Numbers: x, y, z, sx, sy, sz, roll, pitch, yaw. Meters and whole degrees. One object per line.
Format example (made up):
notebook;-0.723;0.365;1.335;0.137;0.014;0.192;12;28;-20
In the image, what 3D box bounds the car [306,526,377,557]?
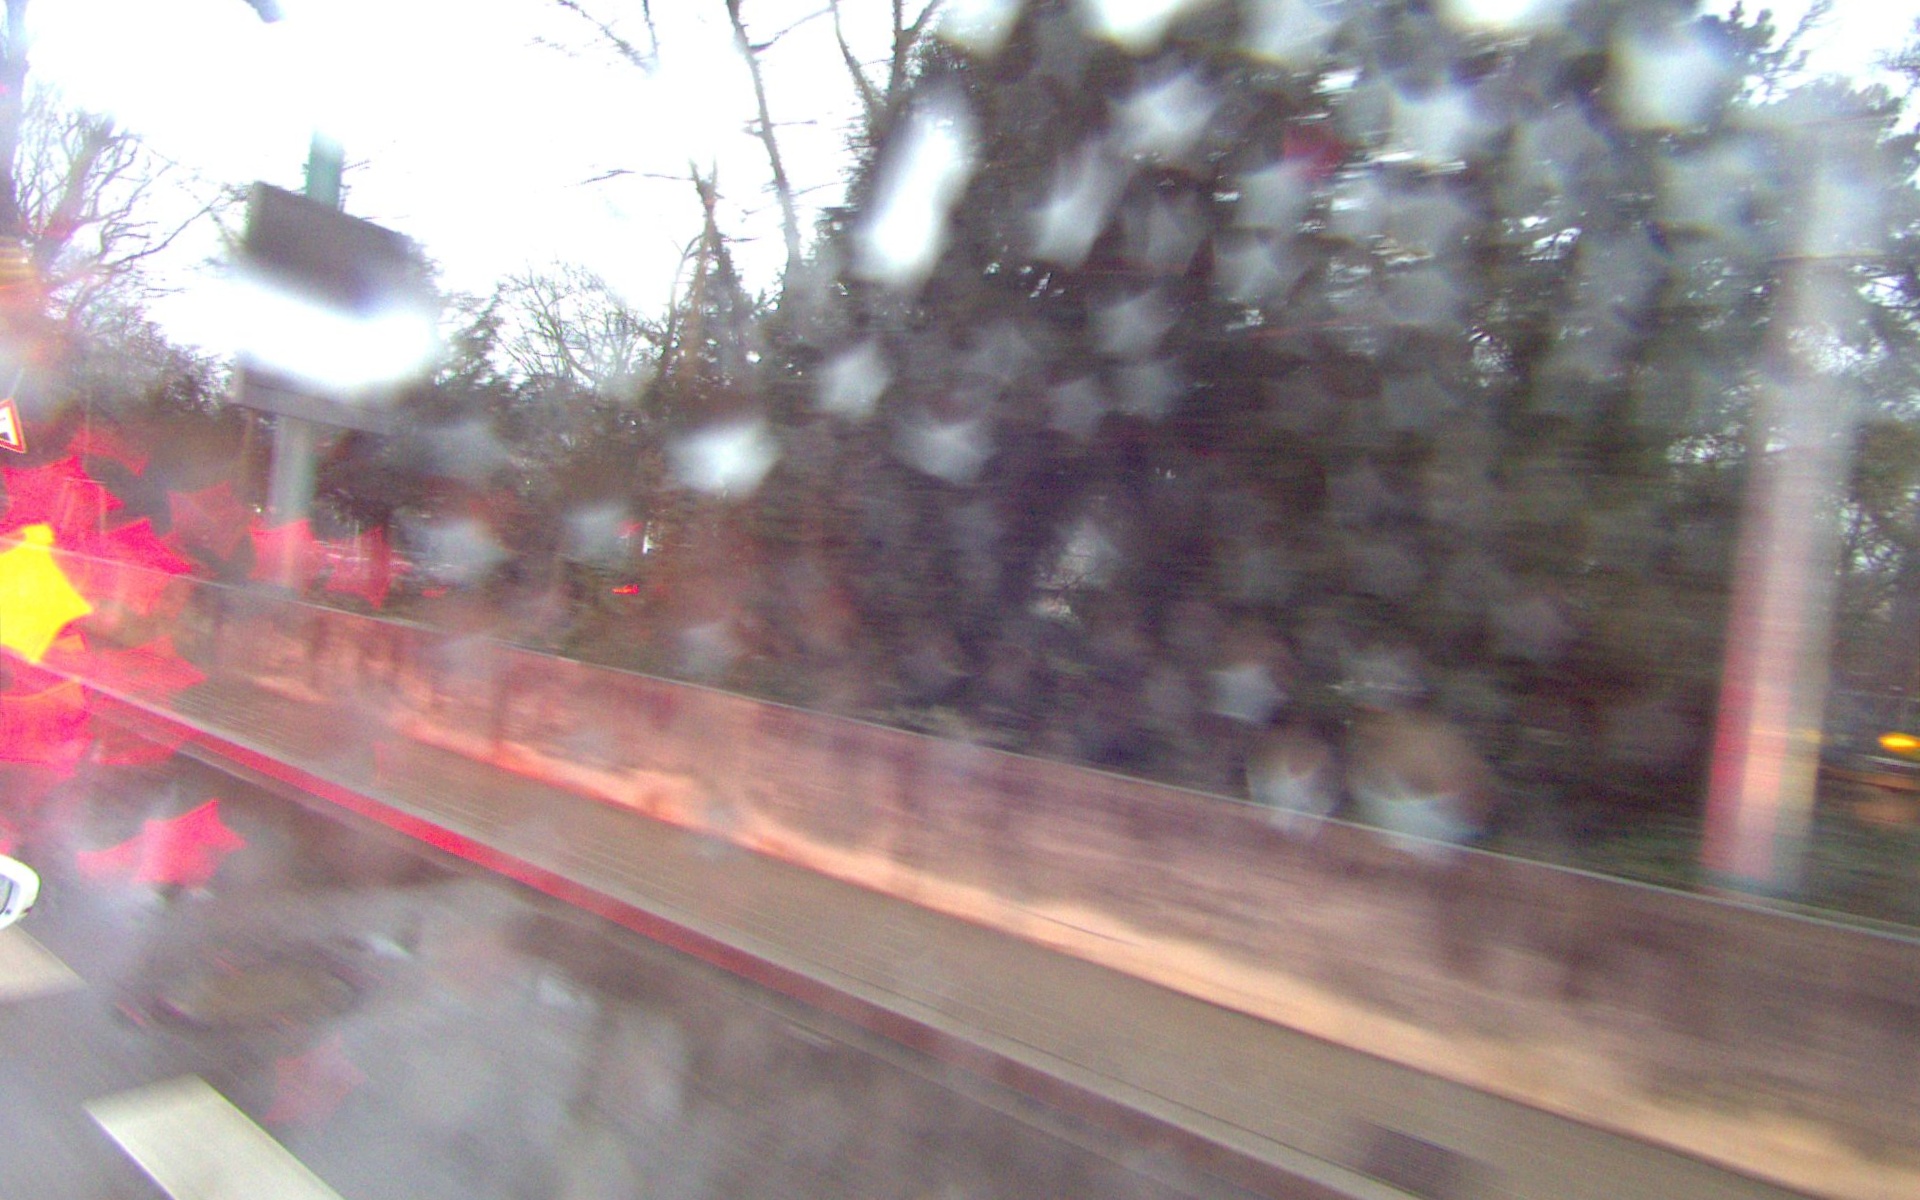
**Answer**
car;-45.653;-4.301;74.307;3.929;1.681;1.818;8;-1;-4
